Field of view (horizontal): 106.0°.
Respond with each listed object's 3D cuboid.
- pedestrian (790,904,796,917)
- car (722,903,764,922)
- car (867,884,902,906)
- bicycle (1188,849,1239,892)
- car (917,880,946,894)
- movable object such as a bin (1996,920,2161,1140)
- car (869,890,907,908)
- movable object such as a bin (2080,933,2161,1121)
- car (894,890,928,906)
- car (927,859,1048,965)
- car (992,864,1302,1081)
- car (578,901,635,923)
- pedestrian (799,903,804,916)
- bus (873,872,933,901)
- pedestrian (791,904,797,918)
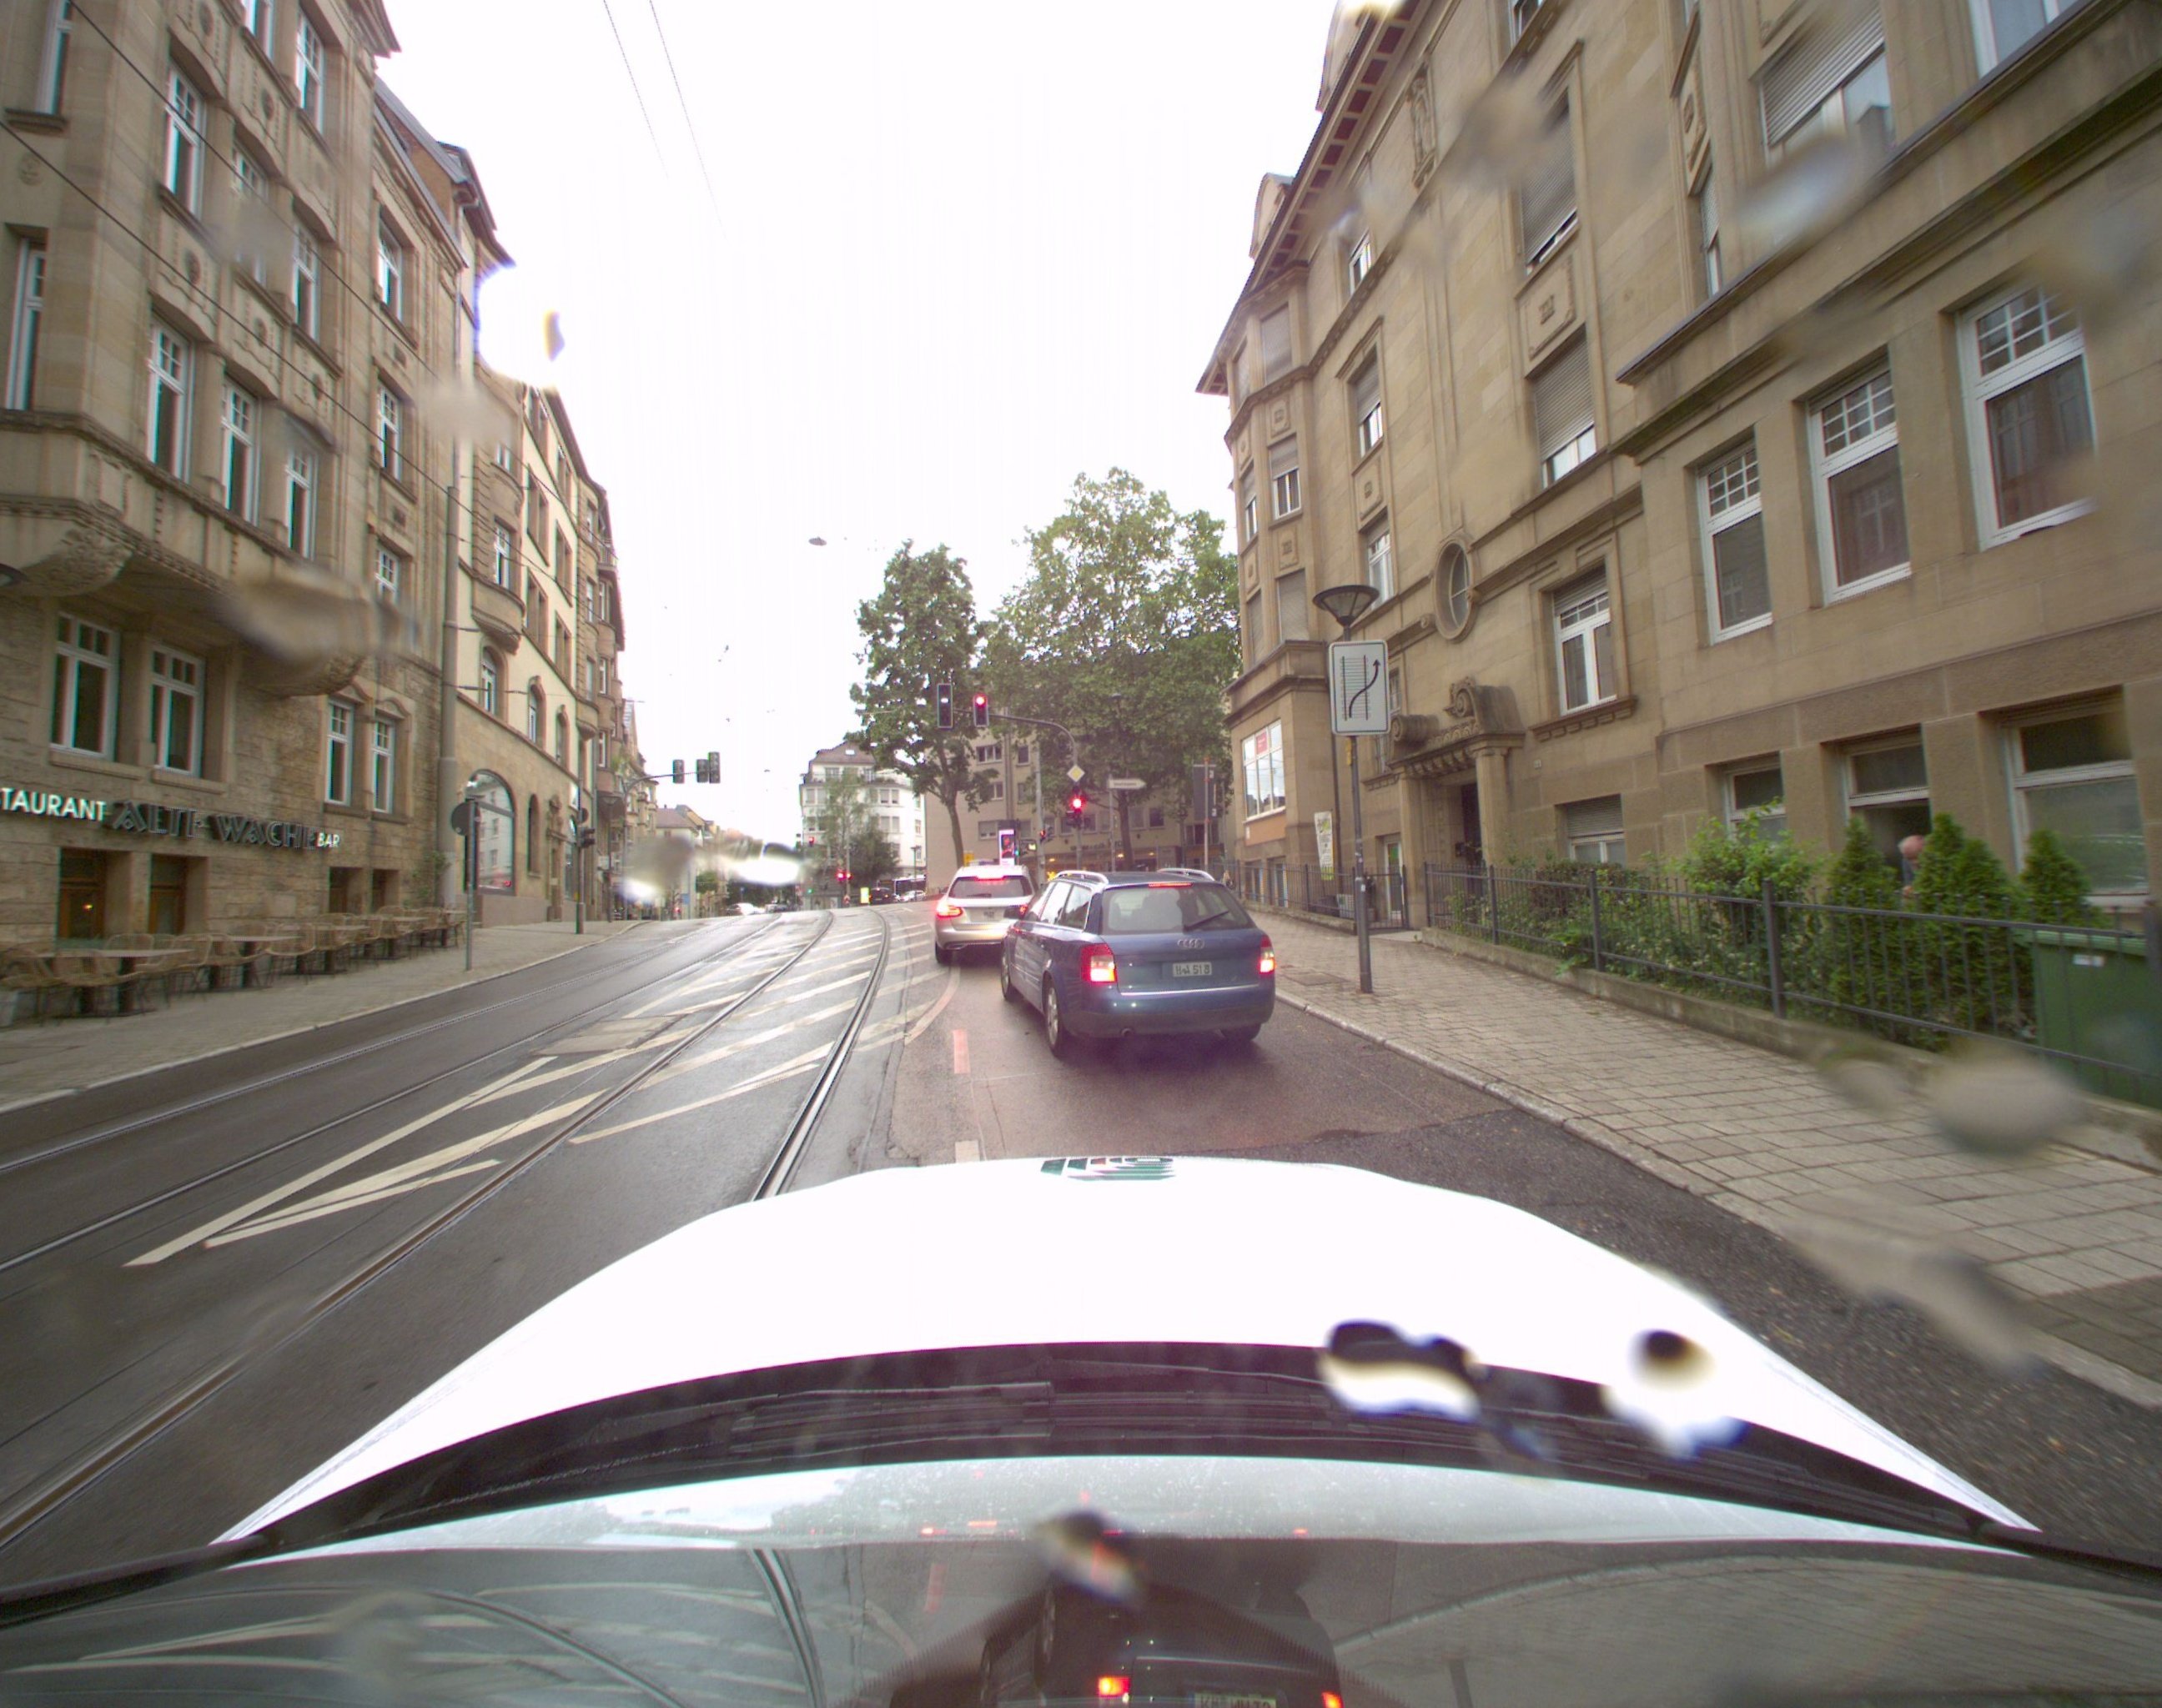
[{"bbox_3d":[-35.799,7.028,101.223,0.650,1.661,0.646,-1,-1,-19],"label":"pedestrian"},{"bbox_3d":[-30.957,5.303,74.466,4.607,1.510,1.811,-3,-1,44],"label":"car"},{"bbox_3d":[-16.607,3.435,68.875,1.788,1.510,4.000,-5,0,1],"label":"car"},{"bbox_3d":[3.934,0.492,24.214,1.300,1.173,0.524,-4,0,-11],"label":"bicycle"},{"bbox_3d":[-18.717,4.125,102.155,1.779,1.510,4.020,-3,0,20],"label":"car"},{"bbox_3d":[5.410,0.881,4.281,0.537,1.026,0.602,2,-2,-10],"label":"movable object such as a bin"},{"bbox_3d":[-19.998,4.644,84.521,1.779,1.614,4.020,-3,0,20],"label":"car"},{"bbox_3d":[5.986,0.935,4.367,0.537,0.968,0.602,2,-2,-10],"label":"movable object such as a bin"},{"bbox_3d":[-18.669,4.826,89.439,1.779,1.510,4.020,-3,0,20],"label":"car"},{"bbox_3d":[-1.497,0.836,13.461,1.708,1.456,3.546,-1,0,-5],"label":"car"},{"bbox_3d":[0.295,0.835,7.725,1.713,1.415,4.016,-1,0,-14],"label":"car"},{"bbox_3d":[-39.875,4.862,68.519,4.008,1.510,1.785,-2,0,-26],"label":"car"},{"bbox_3d":[-37.194,7.369,108.468,0.650,1.661,0.646,-1,-1,-19],"label":"pedestrian"},{"bbox_3d":[-20.734,3.790,95.311,2.832,2.861,8.771,-3,0,16],"label":"bus"},{"bbox_3d":[-34.724,6.883,98.619,0.650,1.661,0.646,-1,-1,-19],"label":"pedestrian"}]
